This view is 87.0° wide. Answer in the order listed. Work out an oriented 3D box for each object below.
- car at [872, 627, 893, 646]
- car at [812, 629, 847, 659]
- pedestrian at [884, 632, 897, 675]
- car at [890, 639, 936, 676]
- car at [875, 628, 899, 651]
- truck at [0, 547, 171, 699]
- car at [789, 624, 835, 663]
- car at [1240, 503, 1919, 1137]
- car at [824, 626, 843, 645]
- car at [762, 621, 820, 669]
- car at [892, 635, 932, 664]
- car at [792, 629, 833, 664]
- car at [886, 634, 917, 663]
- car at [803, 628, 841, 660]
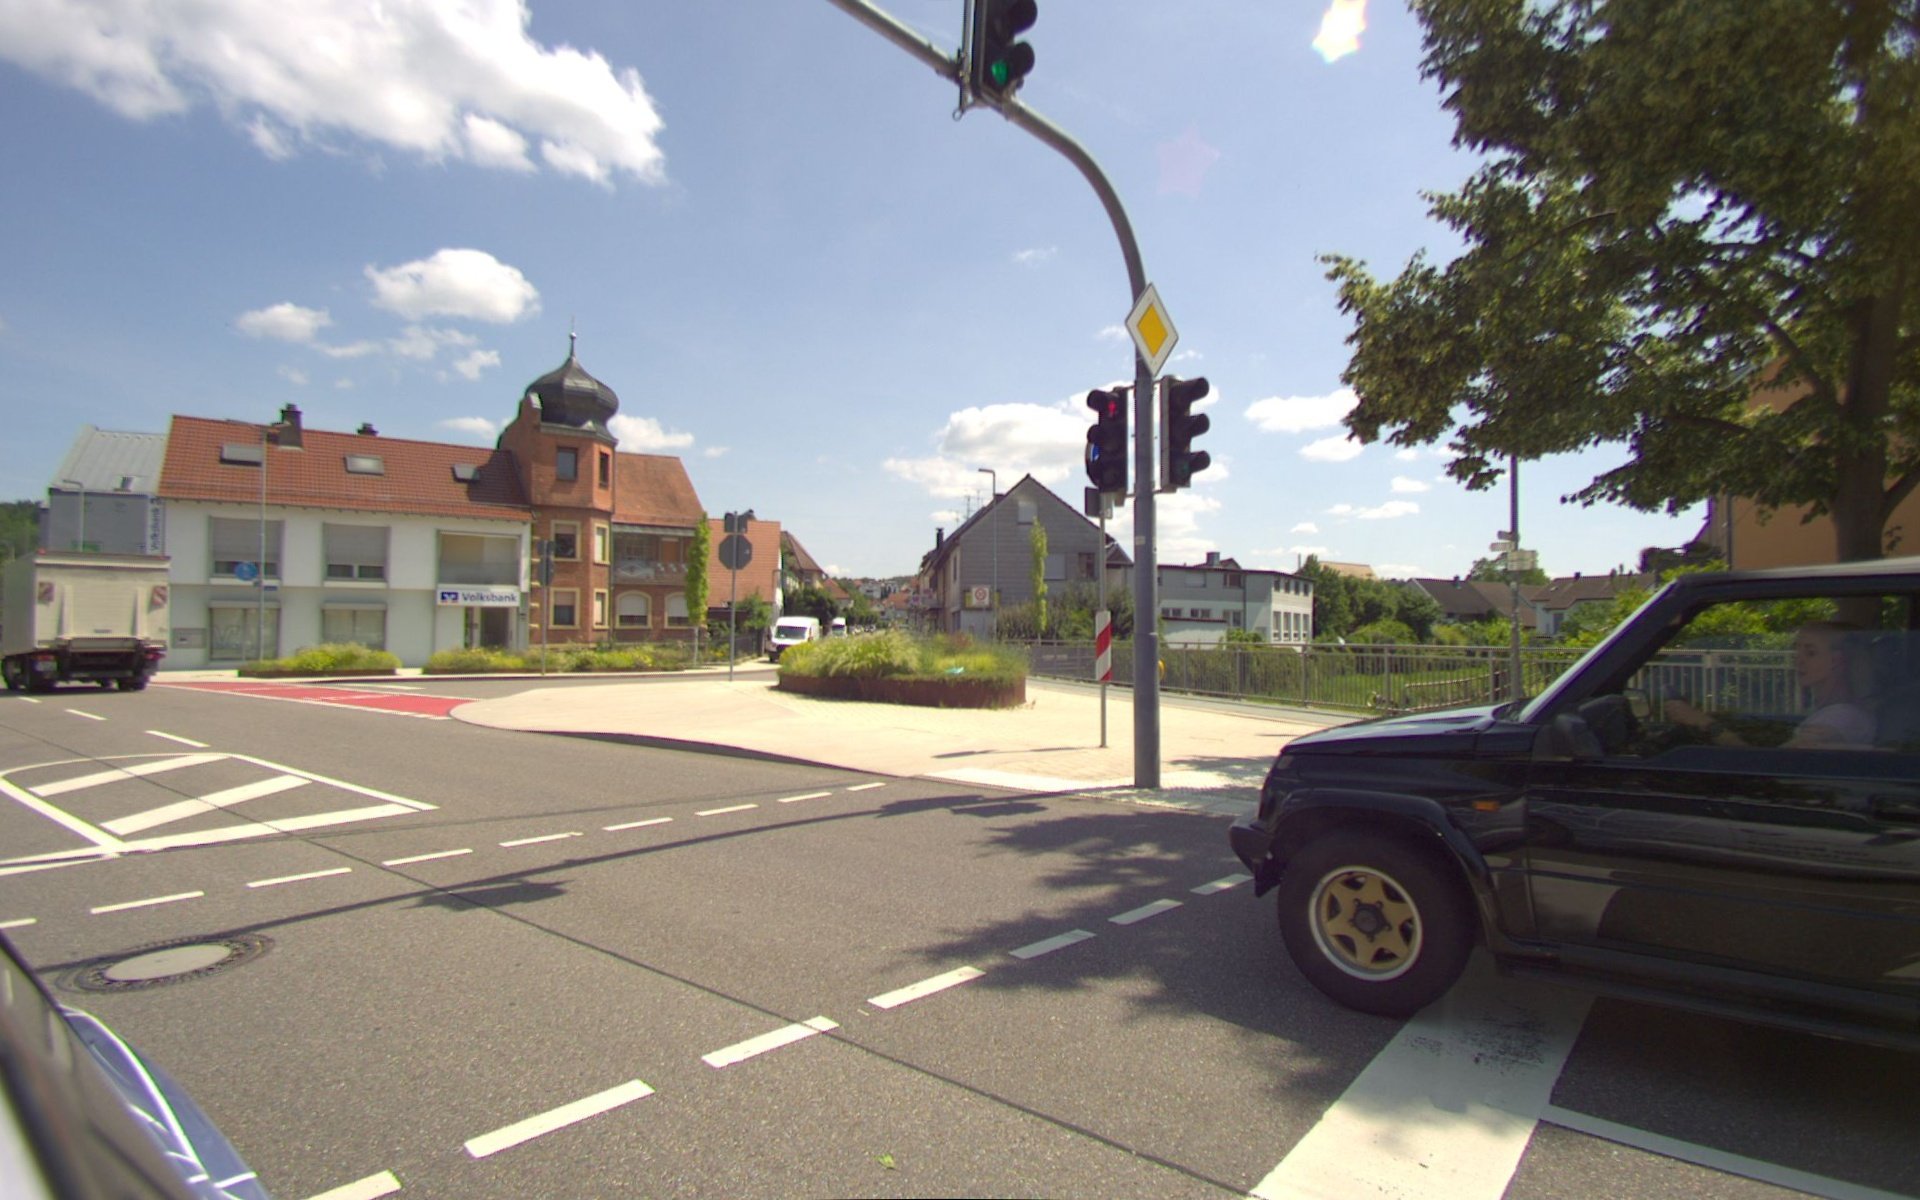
[{"bbox_3d":[-8.504,4.039,111.254,1.968,2.029,4.007,2,-2,-8],"label":"car"},{"bbox_3d":[-10.918,3.672,84.950,2.143,2.363,5.110,1,-2,1],"label":"car"},{"bbox_3d":[-2.889,2.215,42.085,0.500,1.762,0.614,0,-2,3],"label":"pedestrian"},{"bbox_3d":[-1.904,2.372,42.041,1.834,1.475,4.000,0,-3,-1],"label":"car"},{"bbox_3d":[-6.208,3.378,85.794,1.838,1.864,4.005,2,-2,-6],"label":"car"},{"bbox_3d":[-21.462,0.623,24.528,6.035,3.260,2.476,-3,-3,40],"label":"truck"},{"bbox_3d":[-9.491,2.807,65.472,2.143,2.363,5.110,1,-2,1],"label":"car"},{"bbox_3d":[3.027,0.598,3.370,3.664,1.664,1.722,-2,-3,39],"label":"car"},{"bbox_3d":[-13.812,3.887,110.471,1.968,2.029,4.007,2,-2,-8],"label":"car"},{"bbox_3d":[-8.882,2.382,53.681,2.143,2.363,5.110,1,-2,1],"label":"car"},{"bbox_3d":[-3.100,3.128,64.420,2.036,1.741,4.008,2,-2,-9],"label":"car"},{"bbox_3d":[-10.506,3.354,72.549,2.143,2.363,5.110,1,-2,1],"label":"car"},{"bbox_3d":[-4.022,3.290,69.275,1.894,1.892,4.005,1,-2,-6],"label":"car"},{"bbox_3d":[-10.734,3.423,79.014,2.143,2.363,5.110,1,-2,1],"label":"car"}]
